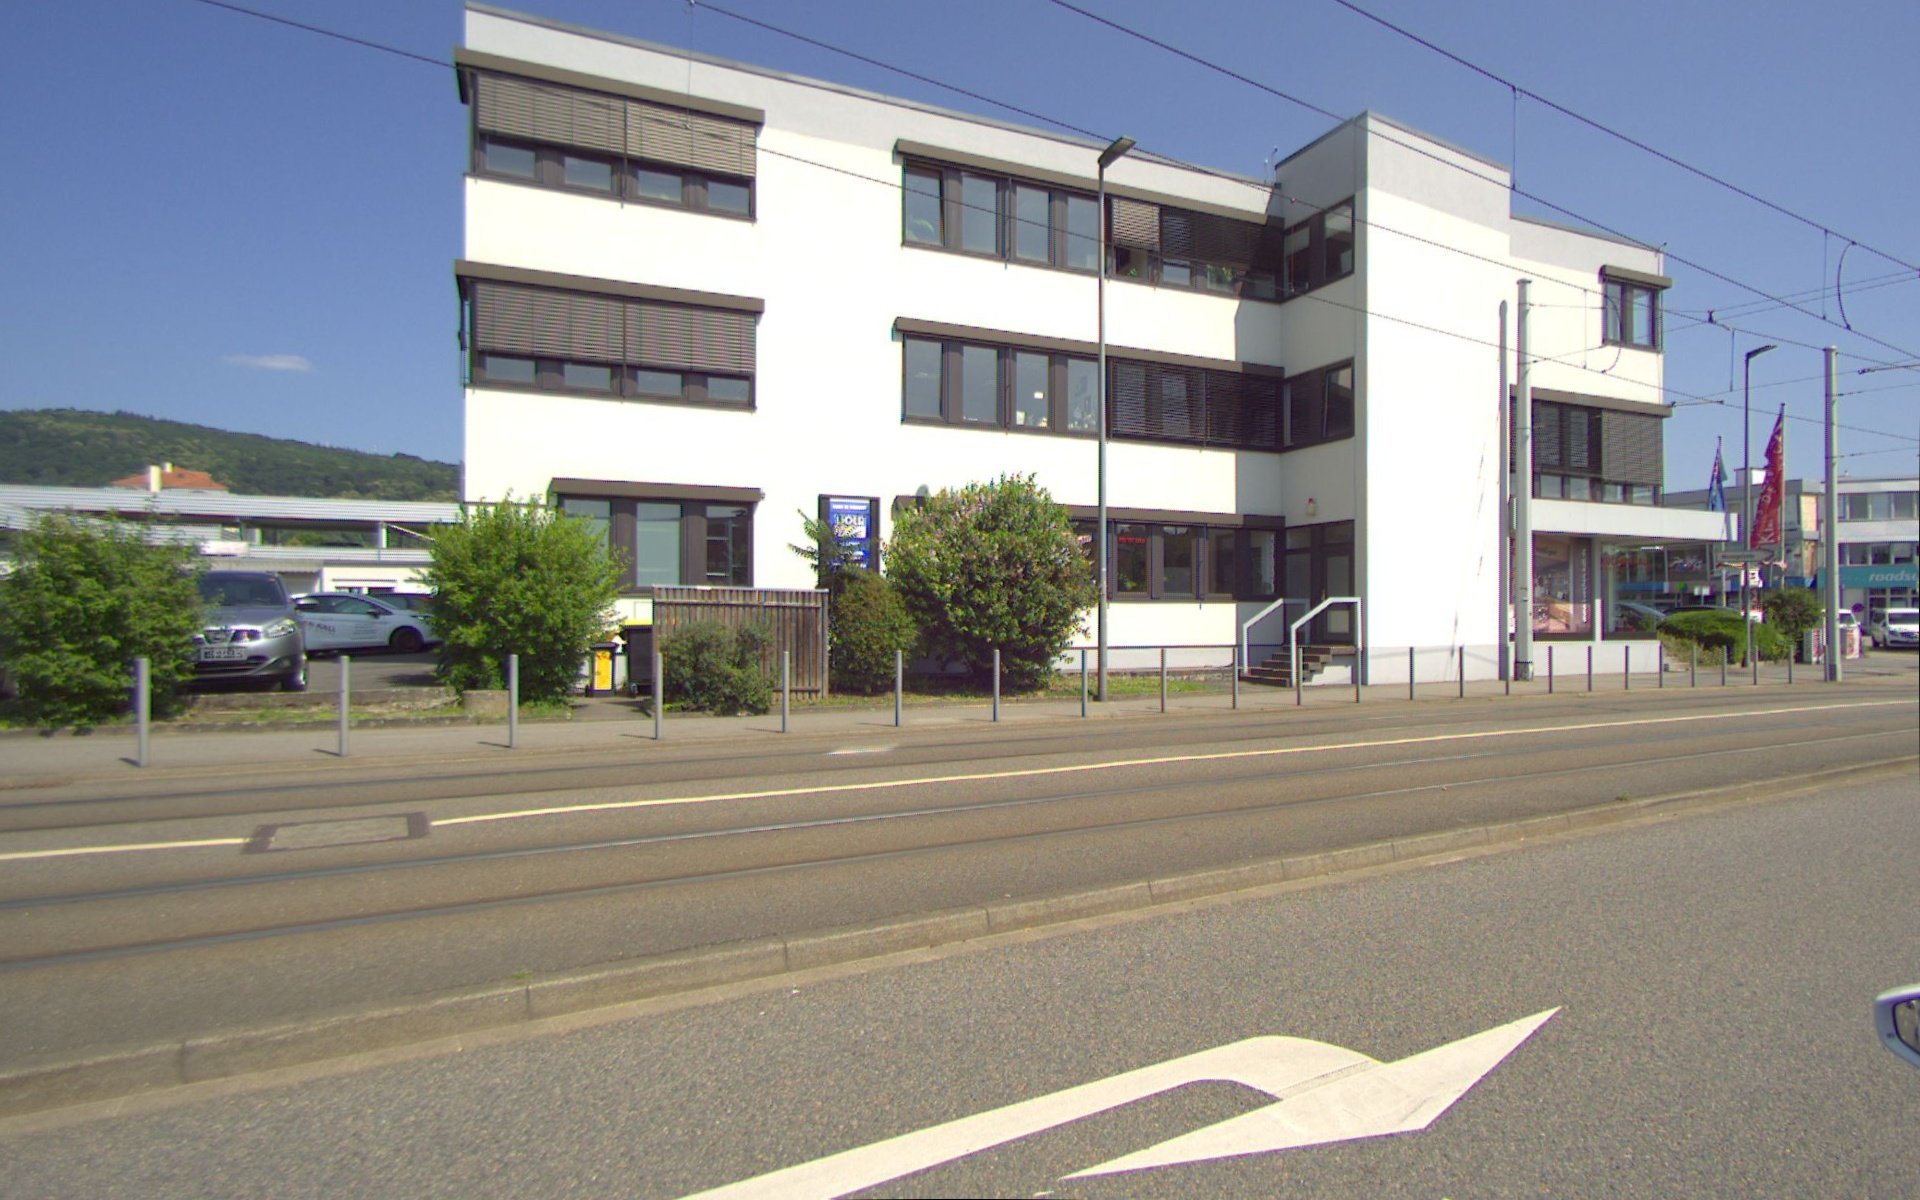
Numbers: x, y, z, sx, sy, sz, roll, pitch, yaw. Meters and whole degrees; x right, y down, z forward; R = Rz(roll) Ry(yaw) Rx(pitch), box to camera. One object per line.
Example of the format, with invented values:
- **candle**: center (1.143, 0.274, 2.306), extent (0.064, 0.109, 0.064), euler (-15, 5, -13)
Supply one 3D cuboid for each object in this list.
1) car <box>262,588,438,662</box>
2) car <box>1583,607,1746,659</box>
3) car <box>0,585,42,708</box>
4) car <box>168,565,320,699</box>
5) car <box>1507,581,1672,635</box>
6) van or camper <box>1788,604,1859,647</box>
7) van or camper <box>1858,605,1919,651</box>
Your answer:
- **car**: center (-13.602, 0.533, 22.573), extent (3.085, 1.445, 1.415), euler (-3, 1, -21)
- **car**: center (23.117, 1.019, 33.113), extent (1.974, 1.539, 3.973), euler (-2, 1, -26)
- **car**: center (-12.320, 0.531, 11.989), extent (1.533, 1.441, 3.365), euler (1, -1, -34)
- **car**: center (-9.531, 0.391, 13.514), extent (1.459, 1.549, 3.601), euler (1, -1, -34)
- **car**: center (19.669, 0.271, 31.545), extent (1.974, 1.584, 3.973), euler (1, -1, -26)
- **van or camper**: center (45.193, 1.295, 52.665), extent (1.965, 2.040, 4.752), euler (-1, 1, 30)
- **van or camper**: center (46.632, 1.359, 49.975), extent (1.965, 2.040, 4.752), euler (-1, 1, 30)
